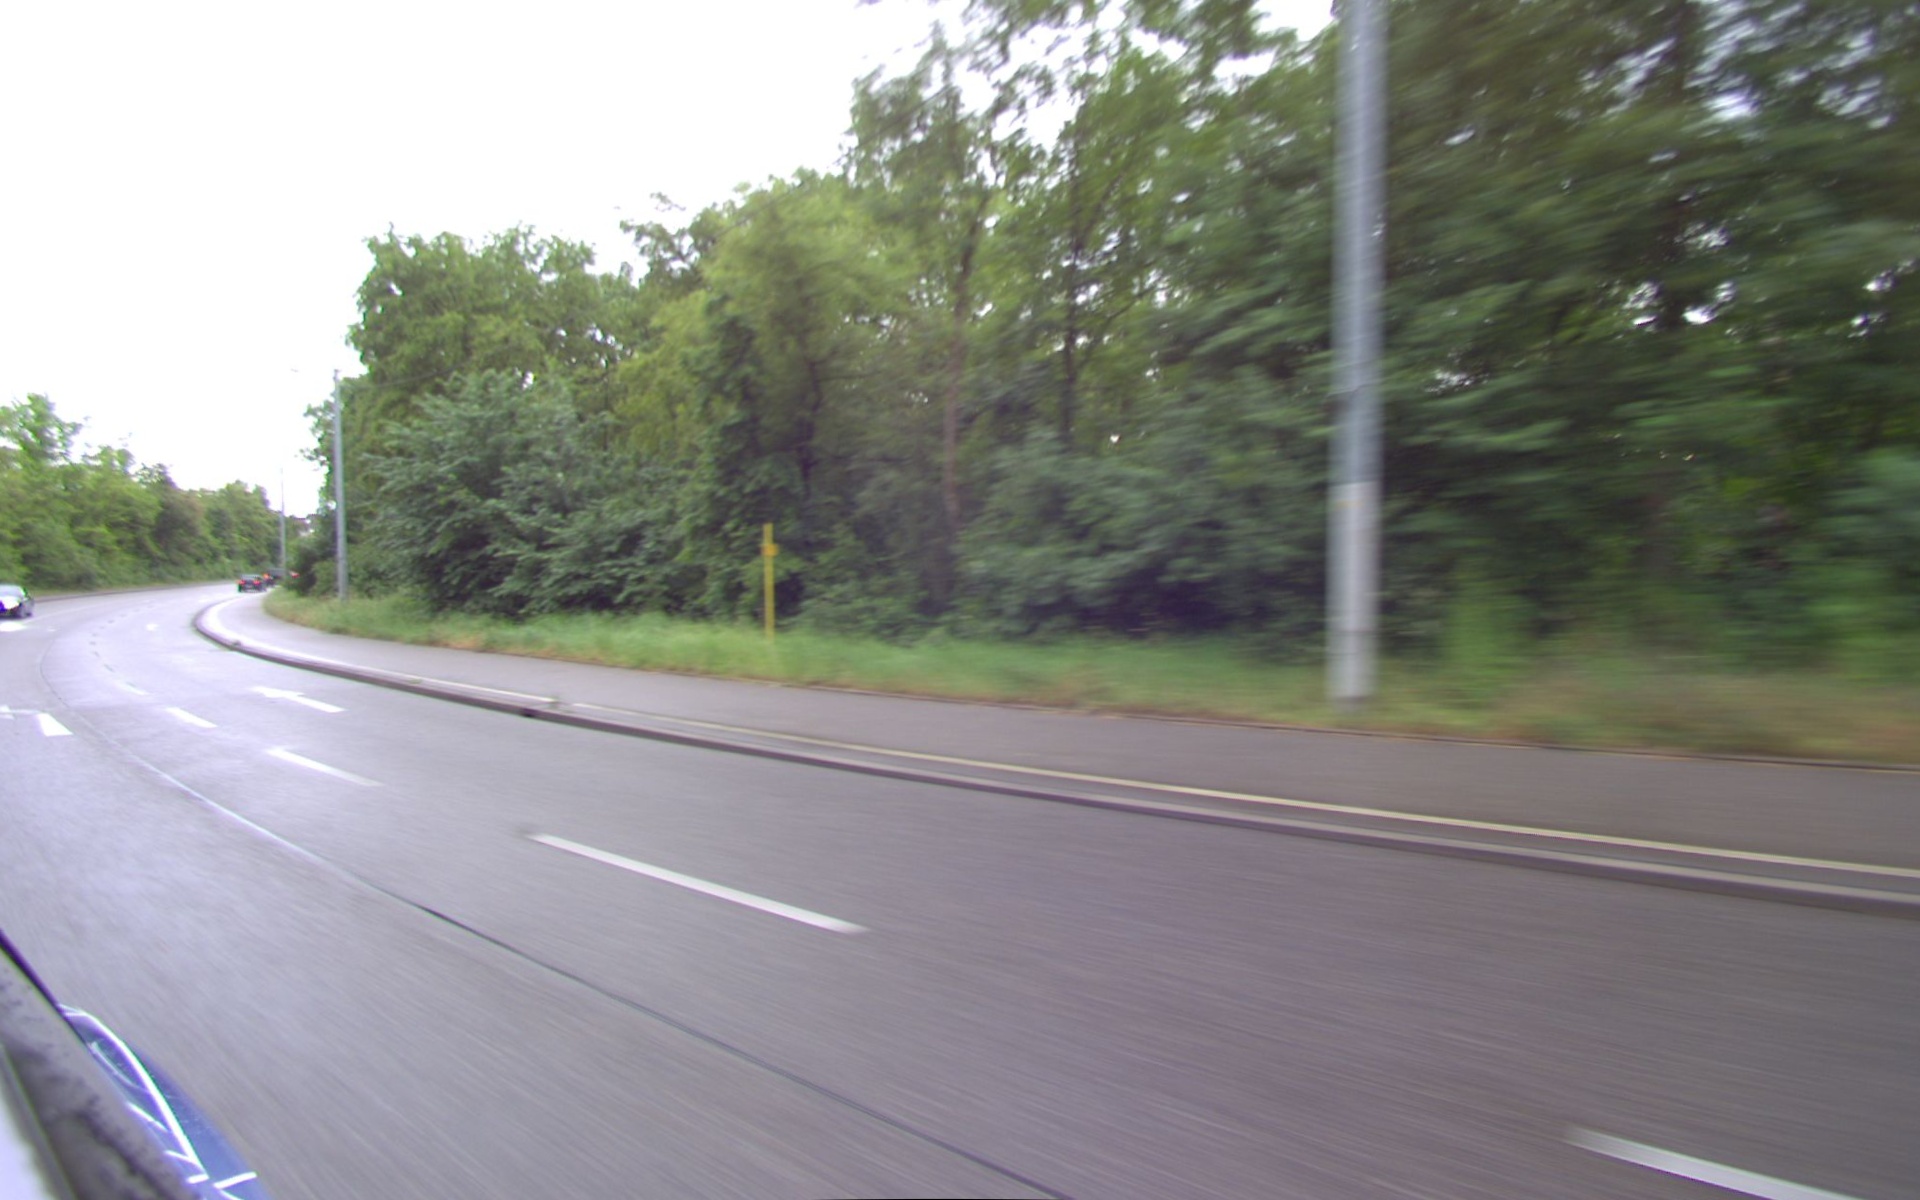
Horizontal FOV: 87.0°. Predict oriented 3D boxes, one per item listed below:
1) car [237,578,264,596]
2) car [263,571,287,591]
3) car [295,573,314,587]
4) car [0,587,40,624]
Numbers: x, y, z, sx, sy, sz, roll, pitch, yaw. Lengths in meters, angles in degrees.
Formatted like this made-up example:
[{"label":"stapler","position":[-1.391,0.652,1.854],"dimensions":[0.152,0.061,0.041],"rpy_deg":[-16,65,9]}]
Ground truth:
[{"label":"car","position":[-63.575,-1.161,90.702],"dimensions":[1.802,1.451,4.011],"rpy_deg":[-1,0,-33]},{"label":"car","position":[-71.132,-1.962,105.113],"dimensions":[1.802,1.857,4.724],"rpy_deg":[5,-3,-33]},{"label":"car","position":[-80.240,-2.466,123.929],"dimensions":[1.802,1.532,4.011],"rpy_deg":[5,-3,-33]},{"label":"car","position":[-42.830,0.210,45.228],"dimensions":[1.802,1.532,4.011],"rpy_deg":[5,-3,-33]}]
